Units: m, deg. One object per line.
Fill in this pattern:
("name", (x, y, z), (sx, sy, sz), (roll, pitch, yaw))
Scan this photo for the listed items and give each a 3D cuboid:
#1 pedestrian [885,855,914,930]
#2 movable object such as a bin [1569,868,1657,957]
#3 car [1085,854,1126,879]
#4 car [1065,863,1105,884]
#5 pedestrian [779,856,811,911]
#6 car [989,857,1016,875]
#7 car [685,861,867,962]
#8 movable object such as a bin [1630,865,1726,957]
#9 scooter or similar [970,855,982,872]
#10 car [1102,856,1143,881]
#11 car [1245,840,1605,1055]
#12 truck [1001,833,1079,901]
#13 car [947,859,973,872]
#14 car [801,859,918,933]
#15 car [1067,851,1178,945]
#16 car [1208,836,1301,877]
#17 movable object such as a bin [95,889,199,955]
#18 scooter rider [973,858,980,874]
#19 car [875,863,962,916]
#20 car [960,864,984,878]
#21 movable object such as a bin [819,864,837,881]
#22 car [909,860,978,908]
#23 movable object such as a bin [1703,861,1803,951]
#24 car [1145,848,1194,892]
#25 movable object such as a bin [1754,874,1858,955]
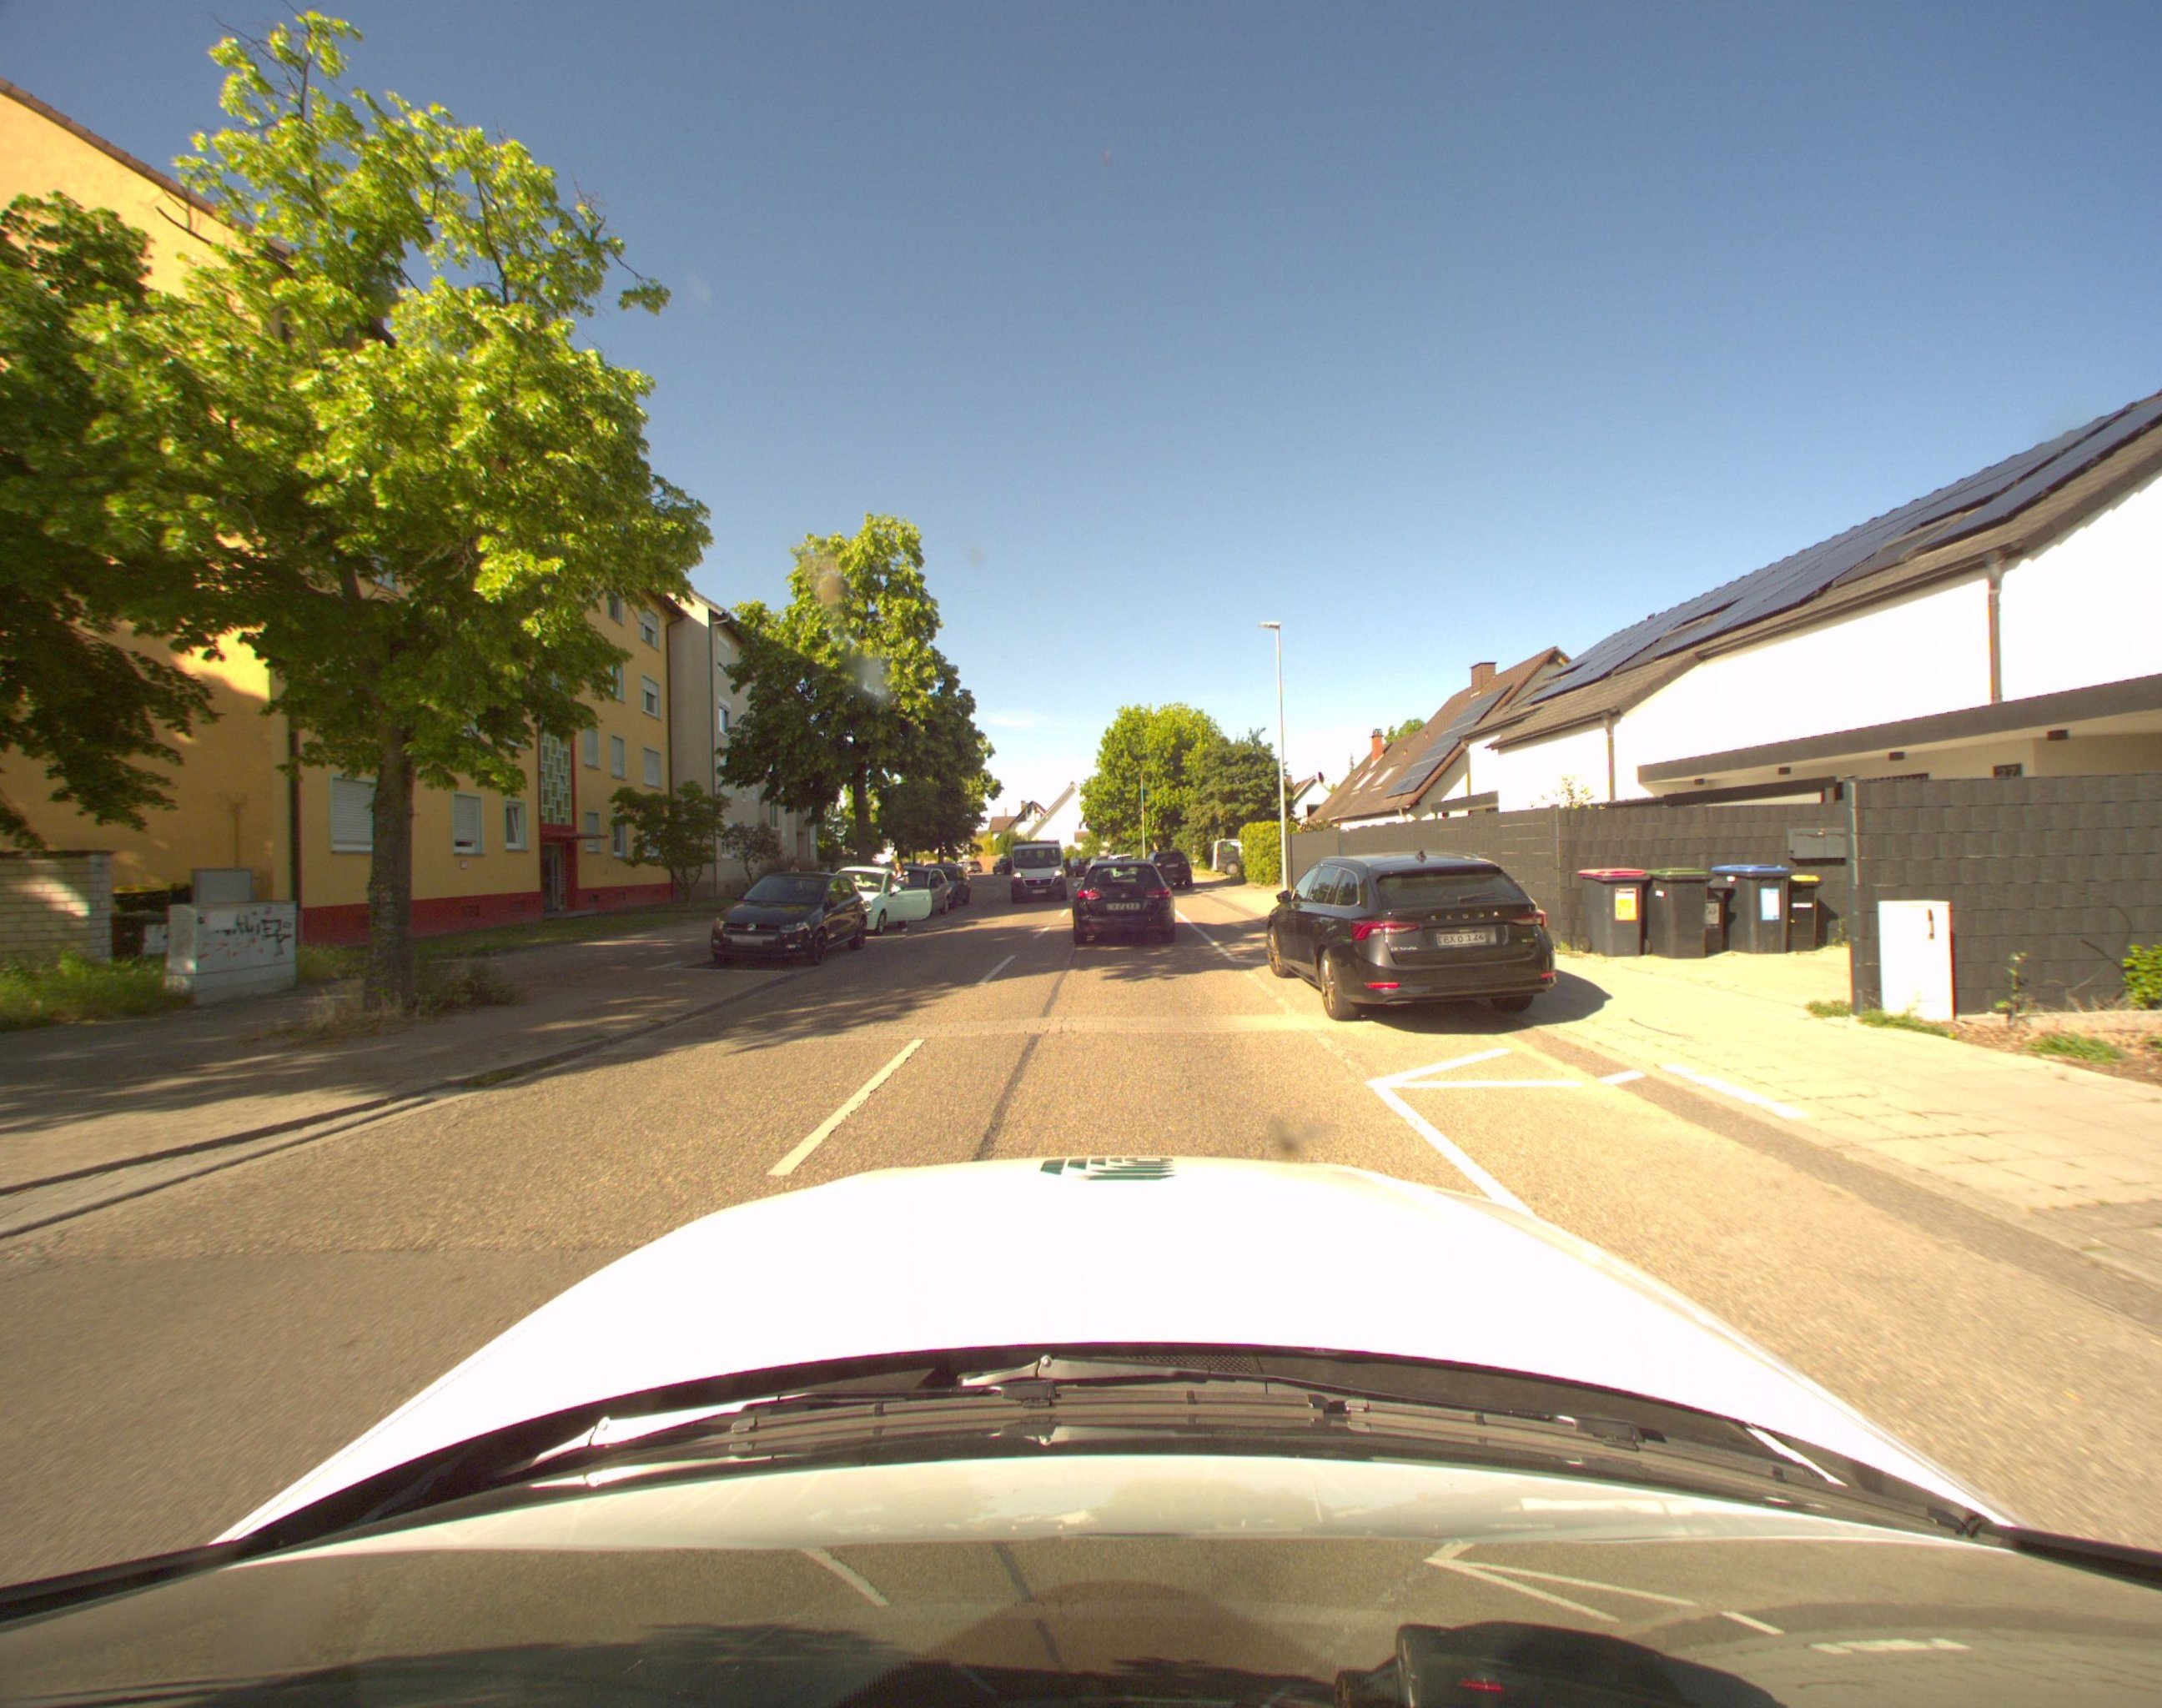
("pedestrian", (-4.424, 0.939, 19.859), (0.503, 1.761, 0.694), (-3, -2, -2))
("movable object such as a bin", (6.608, 0.712, 10.145), (0.592, 1.040, 0.705), (-3, -2, 4))
("car", (1.626, 0.875, 56.056), (1.912, 1.600, 4.277), (-3, -1, -11))
("car", (0.239, 1.463, 61.024), (2.009, 1.475, 4.273), (-3, -1, -14))
("pedestrian", (-9.171, 0.941, 26.147), (0.683, 1.718, 0.720), (-3, -2, 1))
("car", (-7.792, 1.234, 80.490), (1.907, 1.666, 4.167), (-2, -1, -16))
("car", (-5.050, 0.918, 14.114), (1.696, 1.480, 4.049), (0, -2, -1))
("movable object such as a bin", (7.186, 0.671, 9.827), (0.592, 1.040, 0.705), (-3, -2, 4))
("scooter or similar", (-13.209, 1.245, 102.779), (0.688, 2.014, 2.939), (-2, -3, -23))
("car", (2.582, 0.926, 51.517), (1.760, 1.480, 4.281), (-3, -1, -8))
("car", (3.014, 0.677, 8.463), (1.758, 1.480, 4.995), (-3, 0, 3))
("truck", (-1.487, 0.499, 32.631), (2.119, 2.334, 6.451), (-3, -1, 5))
("car", (-14.781, 1.465, 99.016), (1.926, 1.407, 4.258), (-2, -1, -25))
("car", (-5.284, 0.990, 19.964), (1.695, 1.523, 4.051), (-3, -2, 0))
("car", (0.744, 0.749, 15.357), (1.755, 1.491, 4.292), (-1, -1, 2))
("car", (9.531, 0.157, 45.126), (4.663, 1.984, 2.144), (-3, -1, 1))
("movable object such as a bin", (-14.273, 1.021, 12.468), (0.696, 0.910, 0.744), (-2, 0, -6))
("scooter rider", (-13.204, 1.536, 102.770), (0.689, 2.014, 0.813), (-2, -3, -24))
("car", (-4.973, 1.045, 25.446), (1.650, 1.510, 4.003), (-1, -1, 3))
("car", (-12.497, 1.950, 92.991), (1.922, 1.407, 4.266), (-2, -1, -19))
("movable object such as a bin", (-23.353, 1.724, 75.280), (1.520, 1.427, 1.082), (-2, -3, -15))
("car", (-4.896, 1.034, 29.481), (1.561, 1.530, 3.921), (2, 0, 3))
("movable object such as a bin", (8.300, 0.636, 10.086), (0.592, 1.040, 0.705), (-3, -2, 4))
("car", (3.792, 0.675, 35.664), (1.771, 1.724, 4.296), (-3, -1, 2))
("movable object such as a bin", (8.923, 0.733, 10.051), (0.592, 0.926, 0.705), (-3, -2, 4))
